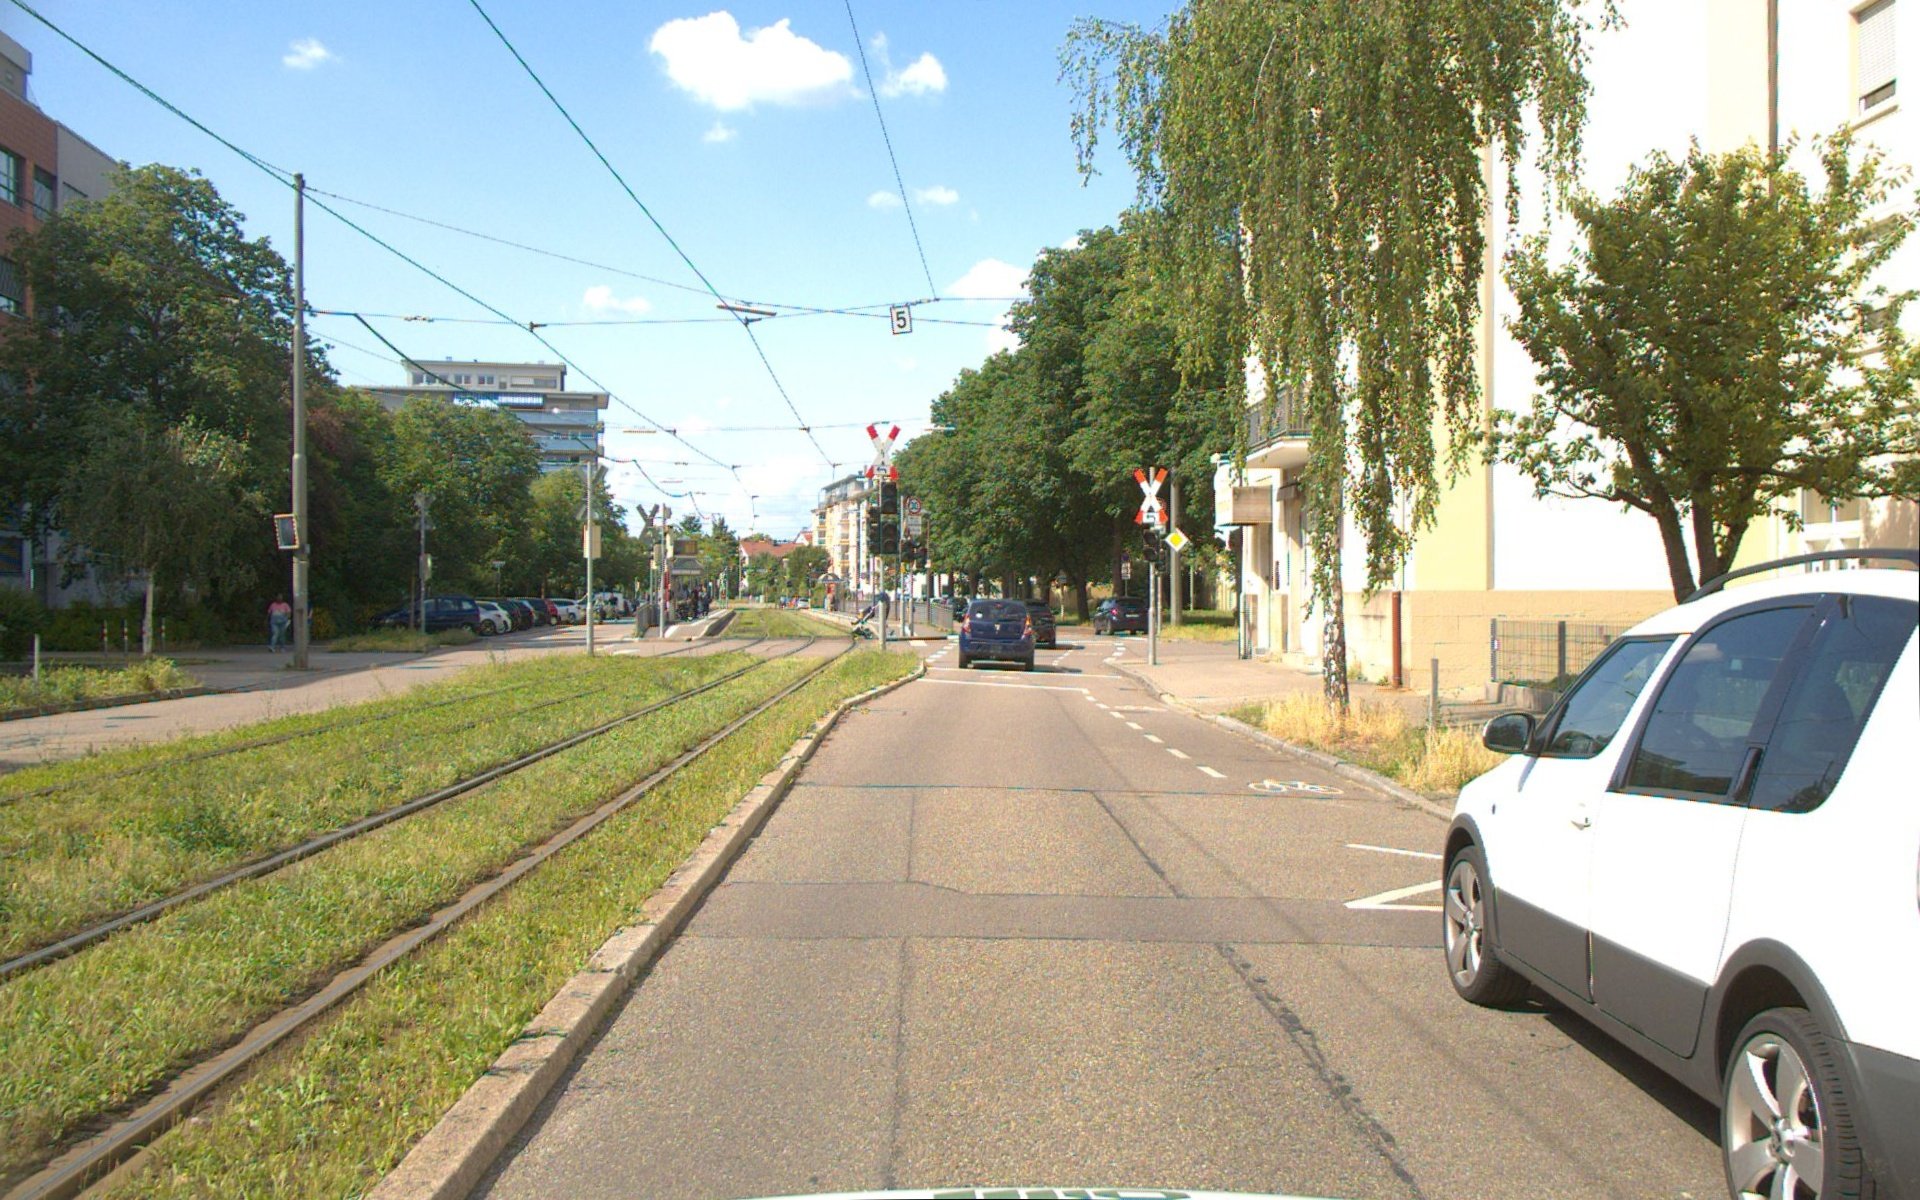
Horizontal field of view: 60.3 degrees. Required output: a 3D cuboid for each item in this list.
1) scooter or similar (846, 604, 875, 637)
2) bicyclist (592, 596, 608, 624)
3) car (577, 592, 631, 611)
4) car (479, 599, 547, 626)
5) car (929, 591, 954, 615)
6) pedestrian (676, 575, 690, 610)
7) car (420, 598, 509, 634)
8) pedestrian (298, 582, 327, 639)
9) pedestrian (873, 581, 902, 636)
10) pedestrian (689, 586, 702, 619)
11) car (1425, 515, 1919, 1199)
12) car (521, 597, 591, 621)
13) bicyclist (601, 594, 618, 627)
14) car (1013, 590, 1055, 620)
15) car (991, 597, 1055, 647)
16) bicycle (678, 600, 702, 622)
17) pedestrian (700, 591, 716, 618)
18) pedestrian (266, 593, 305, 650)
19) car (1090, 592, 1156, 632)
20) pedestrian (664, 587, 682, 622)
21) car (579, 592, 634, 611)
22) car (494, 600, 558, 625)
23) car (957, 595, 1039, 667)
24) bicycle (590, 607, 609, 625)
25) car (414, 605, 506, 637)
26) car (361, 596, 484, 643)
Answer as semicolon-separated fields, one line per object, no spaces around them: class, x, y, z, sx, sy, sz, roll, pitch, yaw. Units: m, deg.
scooter or similar;-3.380;0.687;56.280;0.936;1.083;0.796;0;0;-7
bicyclist;-21.063;0.558;96.776;0.769;1.609;0.863;-1;0;-4
car;-27.275;0.136;126.773;1.608;1.410;3.982;0;0;38
car;-23.127;0.628;85.578;1.428;1.332;3.233;0;0;37
car;-1.444;0.227;127.904;1.586;1.780;3.995;0;0;-6
pedestrian;-14.005;-0.386;83.735;0.642;1.722;0.655;-1;0;-6
car;-21.352;0.675;71.320;3.364;1.531;1.519;-1;0;-45
pedestrian;-19.295;0.314;49.310;0.545;1.686;0.747;0;0;2
pedestrian;-2.476;0.283;56.658;0.854;1.806;1.002;-3;0;-7
pedestrian;-14.175;0.126;88.703;0.591;1.797;0.639;0;0;2
car;2.796;0.687;5.070;1.685;1.658;4.001;2;0;2
car;-24.839;0.541;101.738;1.686;1.391;3.976;-1;0;42
bicyclist;-22.056;0.652;104.112;0.932;2.049;1.569;0;-1;-16
car;3.771;0.247;84.778;1.823;1.470;3.999;-2;0;-1
car;1.880;0.641;50.090;1.666;1.392;3.513;1;0;-2
bicycle;-12.582;0.500;77.067;0.671;0.991;1.772;-3;0;3
pedestrian;-13.624;0.257;89.477;0.642;1.451;0.562;-1;0;30
pedestrian;-19.212;0.607;47.109;0.730;1.601;0.889;0;-1;2
car;6.290;0.440;64.222;1.732;1.458;3.897;-1;0;-7
pedestrian;-13.393;0.223;77.143;0.650;1.597;0.686;-2;0;1
car;-28.211;0.084;131.948;3.965;1.472;1.702;-1;0;-41
car;-24.051;0.657;91.757;1.428;1.332;3.233;0;0;37
car;0.830;0.662;37.186;1.731;1.487;3.776;1;0;0
bicycle;-21.098;0.936;96.833;0.667;0.988;2.177;-1;0;-3
car;-20.608;0.865;68.258;1.518;1.258;3.366;0;0;44
car;-20.234;0.703;62.358;1.696;1.669;4.105;0;0;44
